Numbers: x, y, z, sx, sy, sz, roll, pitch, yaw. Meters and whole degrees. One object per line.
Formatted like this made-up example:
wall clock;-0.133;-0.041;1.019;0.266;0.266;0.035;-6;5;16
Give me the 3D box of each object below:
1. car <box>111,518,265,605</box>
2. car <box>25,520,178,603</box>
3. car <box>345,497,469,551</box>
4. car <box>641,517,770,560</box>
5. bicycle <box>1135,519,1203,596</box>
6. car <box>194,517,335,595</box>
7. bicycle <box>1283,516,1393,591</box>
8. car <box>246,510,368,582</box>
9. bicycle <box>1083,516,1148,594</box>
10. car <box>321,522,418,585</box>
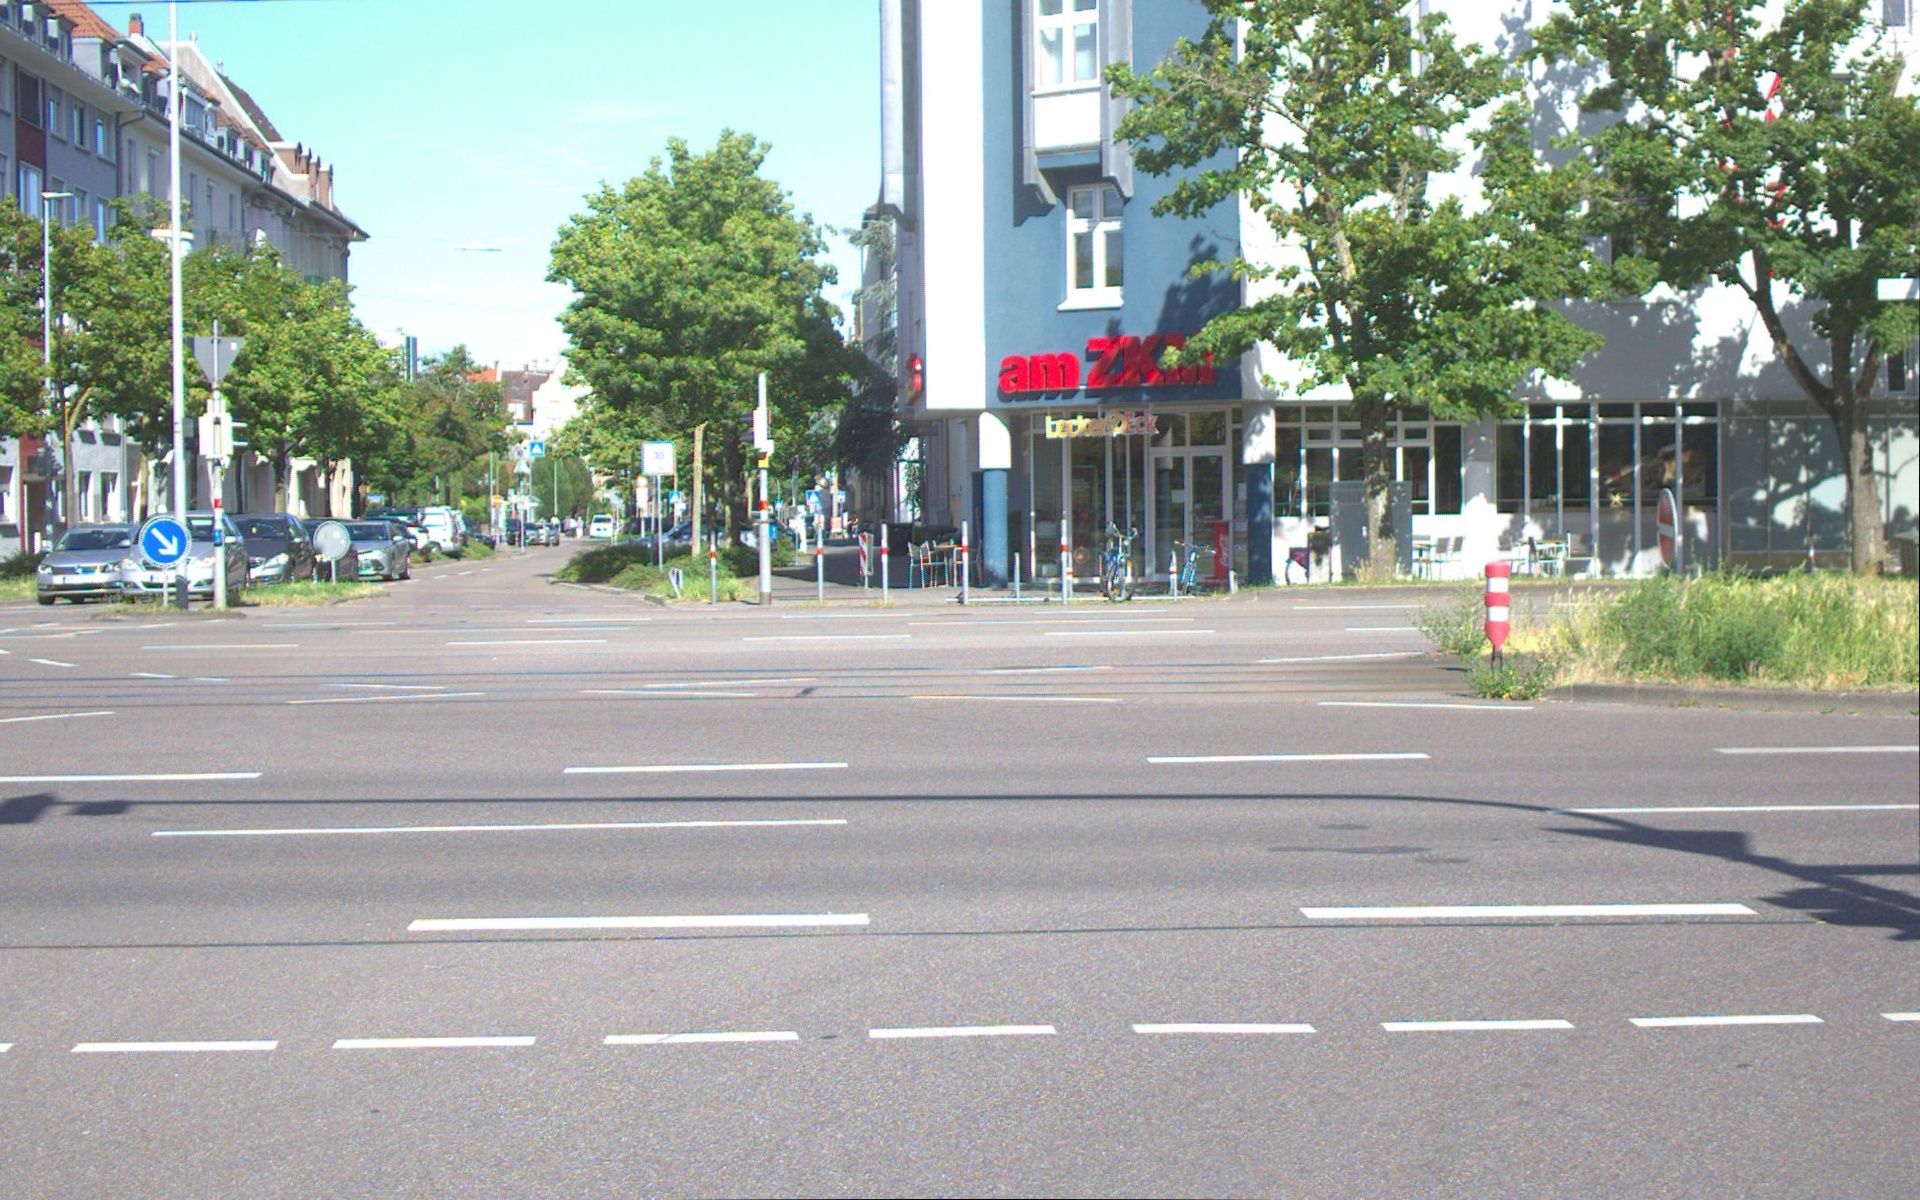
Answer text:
car;-13.566;-0.695;60.636;1.688;1.427;4.400;2;1;0
car;-15.839;-0.732;63.646;1.688;1.427;4.400;2;1;0
car;-20.867;-2.848;129.830;4.504;2.007;2.000;0;0;-5
car;-7.348;-1.777;99.178;3.566;1.219;1.731;0;0;-9
bicycle;2.840;-0.586;46.814;0.471;1.023;1.517;-1;2;-14
car;-13.517;-0.875;67.021;1.688;1.427;4.400;2;1;2
bicycle;5.344;-0.659;48.627;1.512;1.023;0.473;-1;1;9
car;-13.833;-1.157;73.038;1.688;1.427;4.400;2;1;0
bicycle;2.086;-0.609;46.270;0.471;1.023;1.517;-1;2;-13
car;-14.059;-1.122;82.077;1.688;1.427;4.400;2;1;-2
